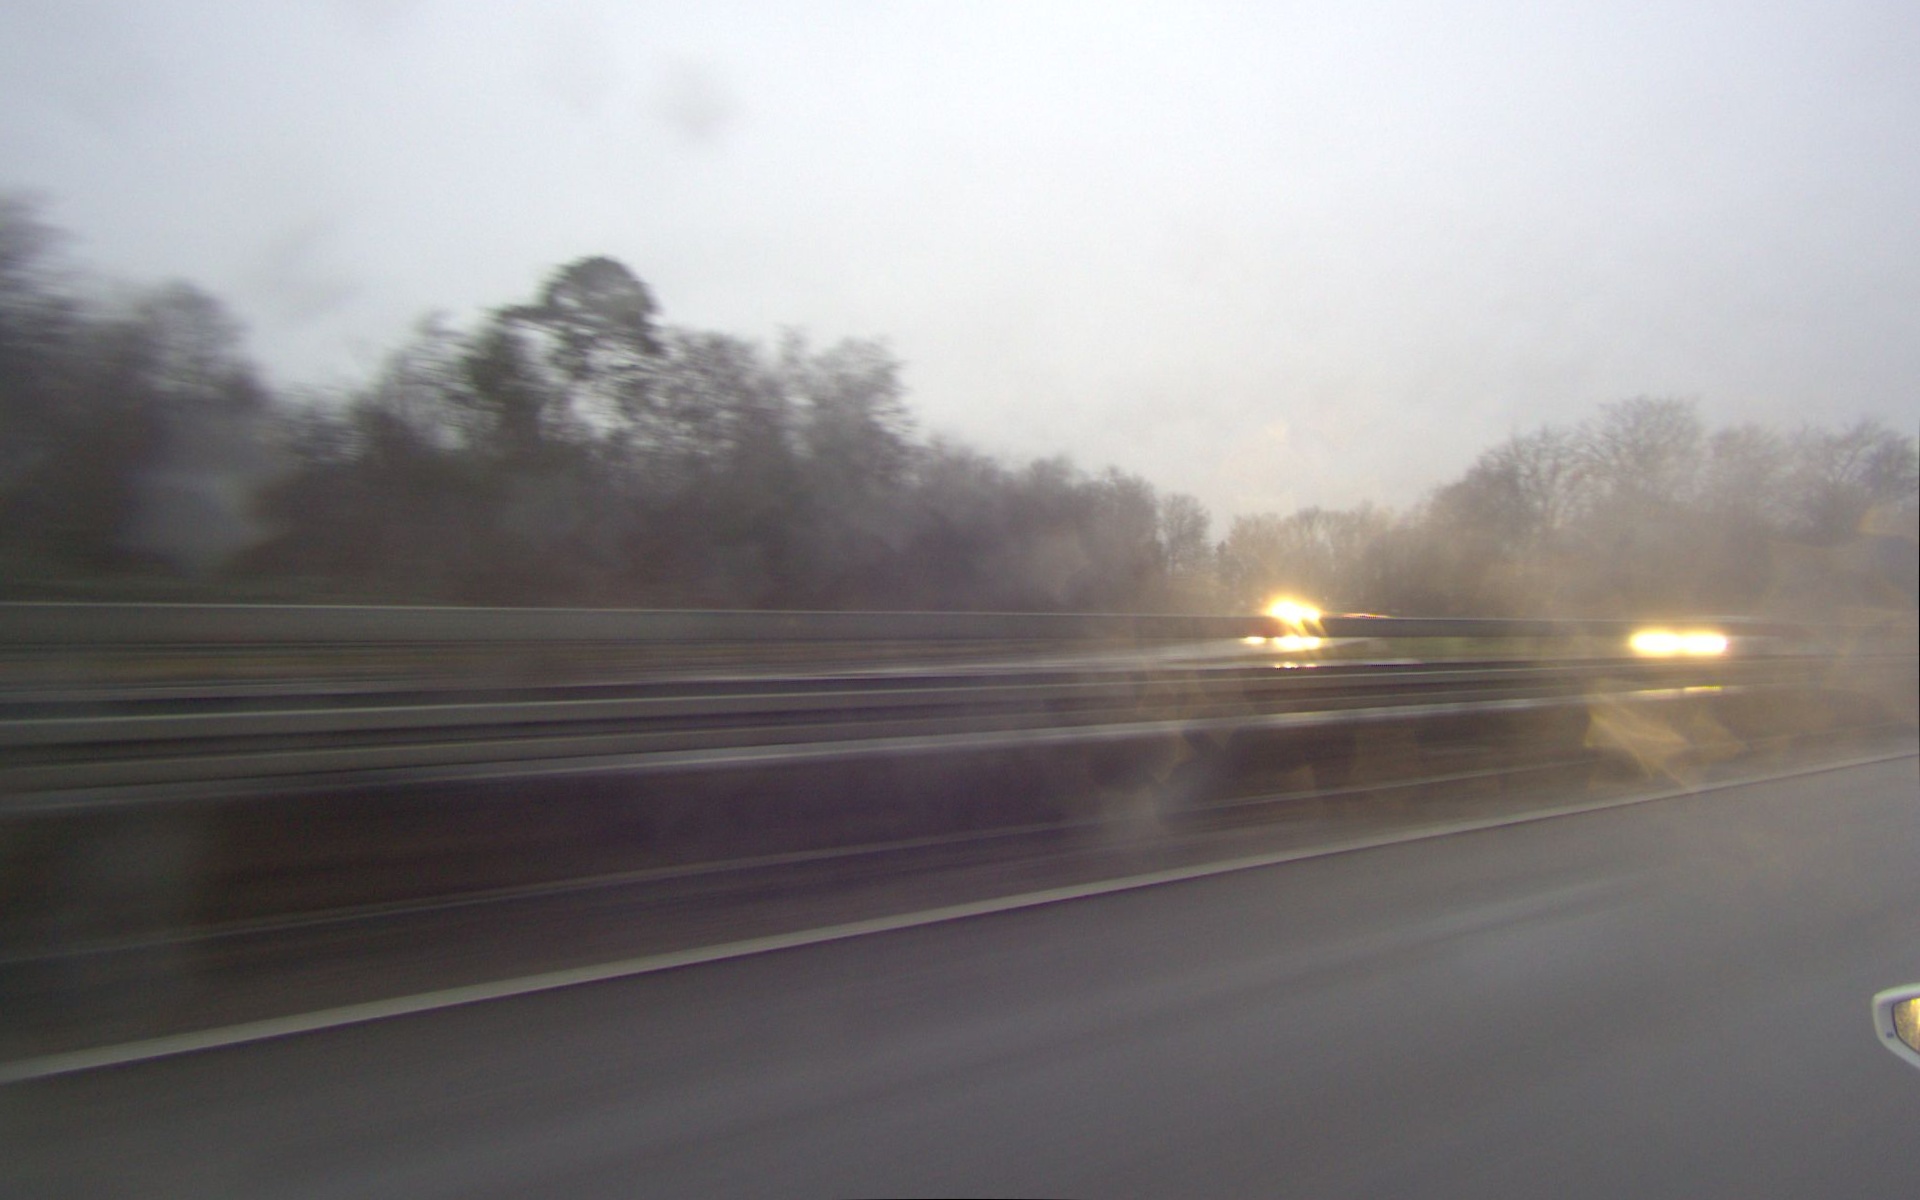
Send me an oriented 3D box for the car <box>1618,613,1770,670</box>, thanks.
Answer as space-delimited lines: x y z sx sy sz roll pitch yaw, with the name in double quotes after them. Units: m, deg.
22.384 1.242 30.575 4.901 1.610 1.984 1 -1 -31 "car"
